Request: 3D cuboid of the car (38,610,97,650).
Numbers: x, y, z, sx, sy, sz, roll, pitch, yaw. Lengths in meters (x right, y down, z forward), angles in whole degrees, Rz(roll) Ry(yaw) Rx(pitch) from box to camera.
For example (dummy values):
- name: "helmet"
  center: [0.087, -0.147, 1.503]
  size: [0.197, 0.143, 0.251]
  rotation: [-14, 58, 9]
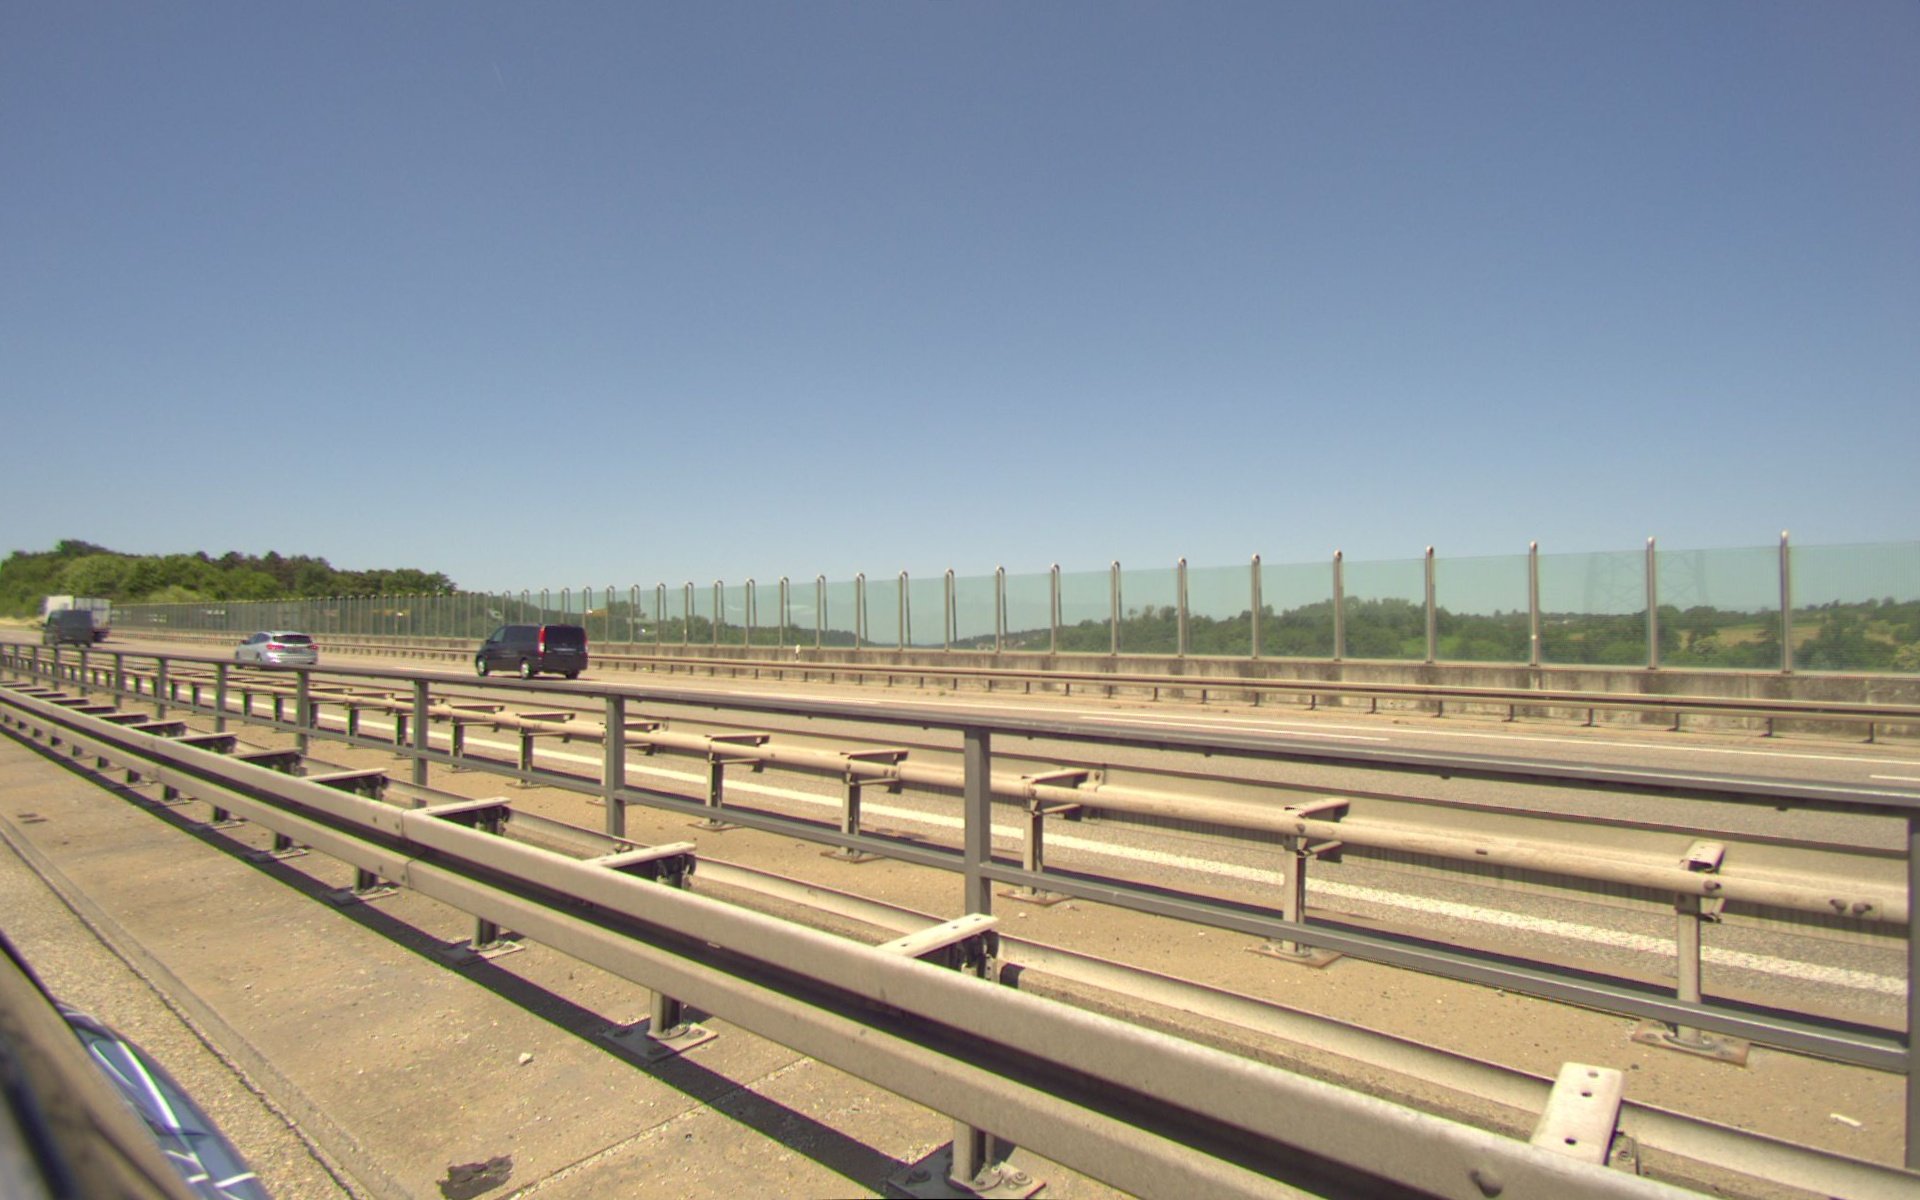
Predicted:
- name: "car"
  center: [-61.313, 2.035, 69.477]
  size: [6.644, 2.602, 1.973]
  rotation: [-1, -3, 40]

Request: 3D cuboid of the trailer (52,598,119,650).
- name: "trailer"
  center: [-78.169, 2.094, 90.315]
  size: [13.660, 4.340, 2.874]
  rotation: [-1, -3, 43]

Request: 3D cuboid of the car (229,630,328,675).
- name: "car"
  center: [-25.582, 1.954, 37.940]
  size: [4.383, 1.556, 1.973]
  rotation: [-1, -3, 41]

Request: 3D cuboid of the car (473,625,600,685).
- name: "car"
  center: [-14.738, 1.875, 35.136]
  size: [4.946, 1.920, 1.937]
  rotation: [-1, -3, 39]
